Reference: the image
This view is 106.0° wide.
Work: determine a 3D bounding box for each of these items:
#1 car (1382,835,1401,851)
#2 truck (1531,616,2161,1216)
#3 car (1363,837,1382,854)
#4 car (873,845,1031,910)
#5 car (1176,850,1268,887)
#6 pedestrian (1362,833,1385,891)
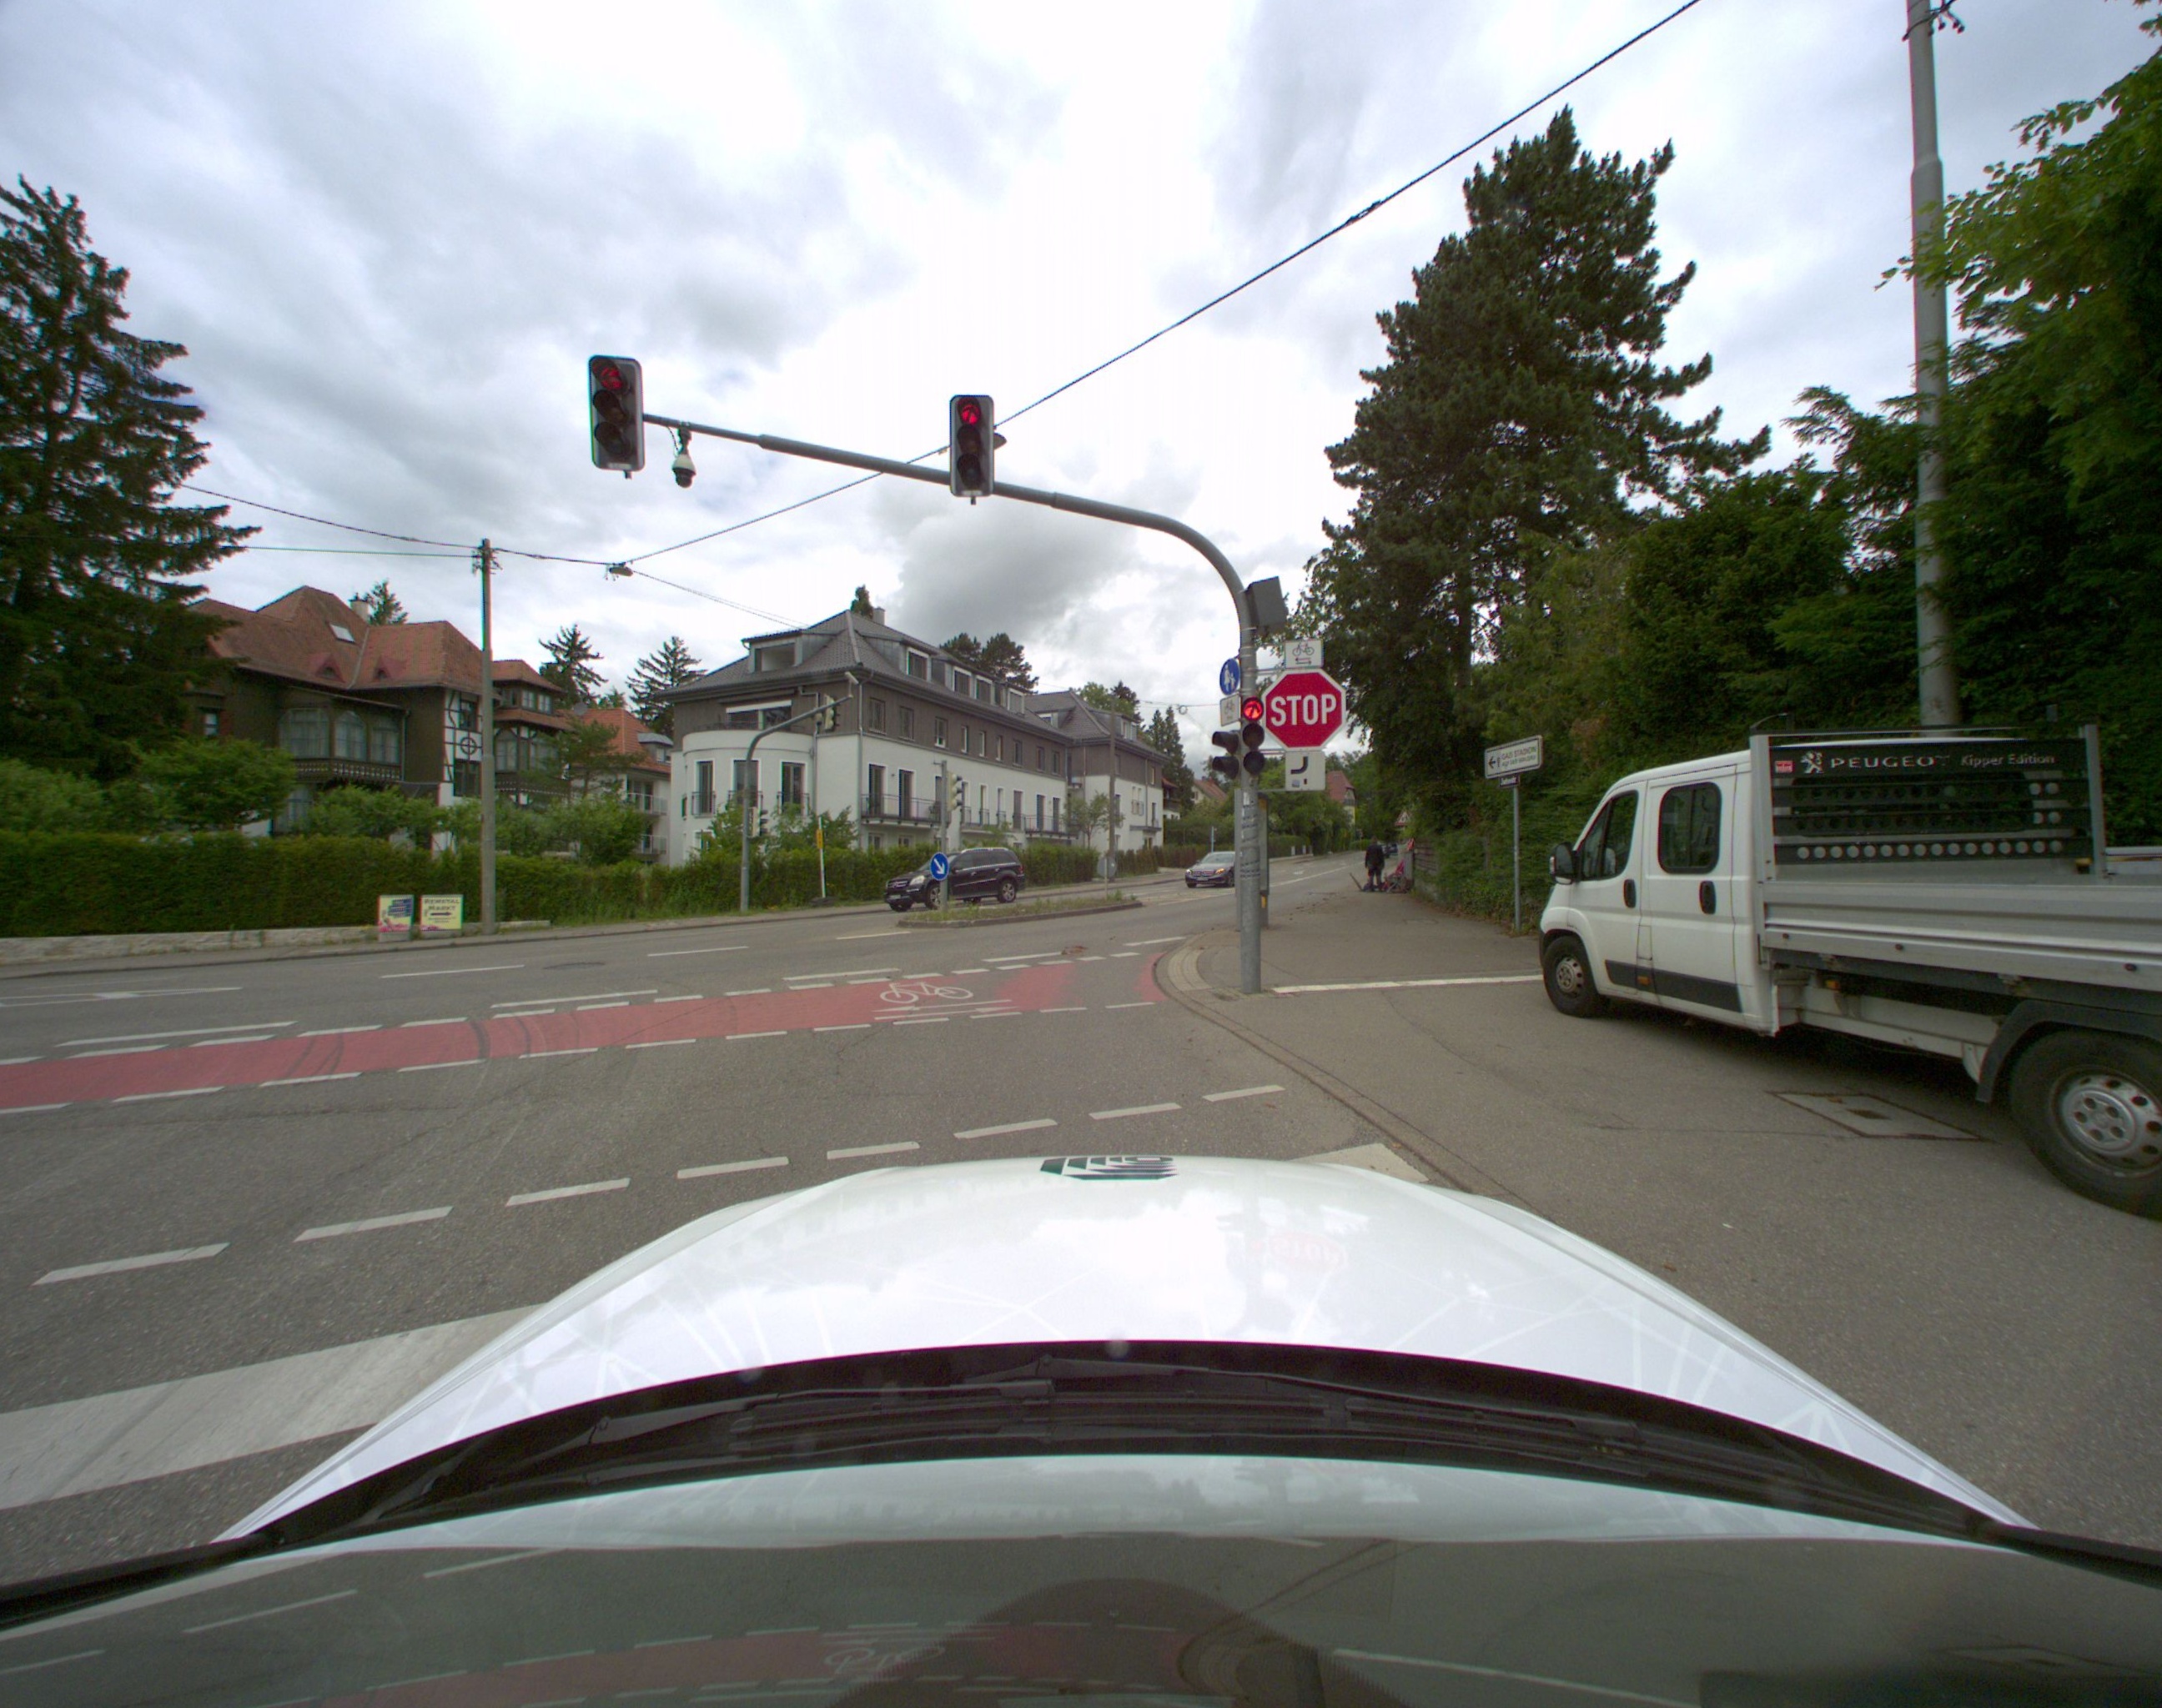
[{"bbox_3d":[39.785,-1.369,104.380,1.975,2.014,4.023,-1,0,26],"label":"car"},{"bbox_3d":[5.272,0.232,4.956,2.198,2.243,5.729,0,0,4],"label":"truck"},{"bbox_3d":[32.762,-0.931,91.425,1.791,1.753,4.511,-2,0,22],"label":"car"},{"bbox_3d":[-3.985,0.697,26.178,1.893,1.881,5.175,-3,-1,35],"label":"car"},{"bbox_3d":[6.085,0.559,34.635,1.920,1.403,4.773,-1,0,36],"label":"car"},{"bbox_3d":[9.805,0.268,27.310,0.594,1.907,0.559,0,-1,2],"label":"pedestrian"}]
